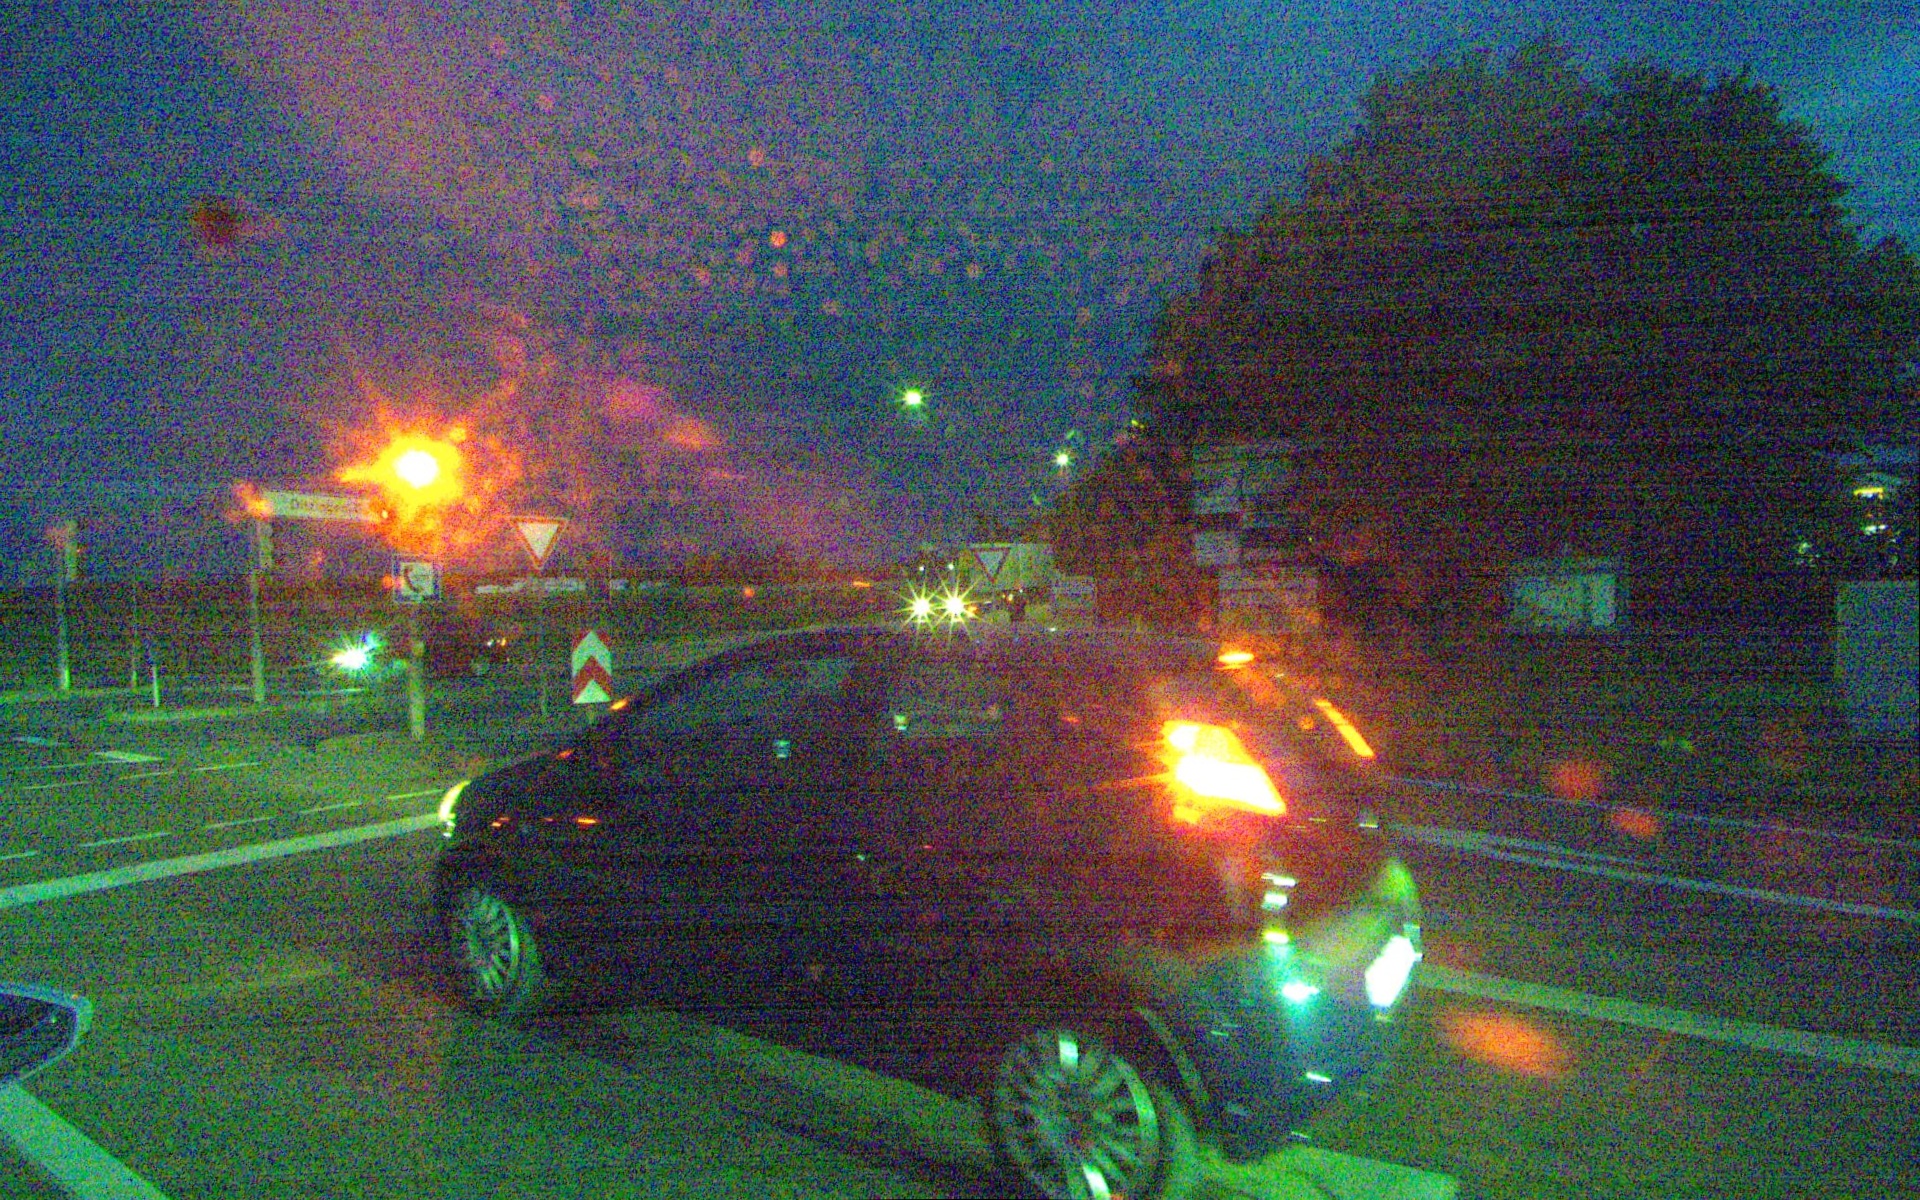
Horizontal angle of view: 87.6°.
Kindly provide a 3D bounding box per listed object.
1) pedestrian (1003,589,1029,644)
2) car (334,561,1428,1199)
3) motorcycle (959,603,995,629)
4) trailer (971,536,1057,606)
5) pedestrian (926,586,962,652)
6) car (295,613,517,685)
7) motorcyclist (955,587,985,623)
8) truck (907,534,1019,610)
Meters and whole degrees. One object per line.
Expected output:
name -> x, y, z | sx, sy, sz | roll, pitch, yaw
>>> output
pedestrian -> 1.997, 0.581, 35.799 | 0.860, 1.925, 0.660 | -1, 1, 6
car -> -0.542, 0.733, 3.843 | 4.049, 1.540, 1.666 | -1, -1, 34
motorcycle -> 0.786, 0.707, 44.558 | 0.964, 1.113, 2.504 | 0, 0, 16
trailer -> 3.814, -2.036, 67.566 | 2.875, 4.361, 9.043 | -1, 2, 22
pedestrian -> -0.454, 0.554, 29.356 | 0.861, 1.859, 0.731 | -3, 1, 6
car -> -14.054, 1.171, 25.675 | 1.972, 1.541, 4.589 | 0, 1, 33
motorcyclist -> 0.465, 0.218, 44.732 | 1.120, 1.606, 0.971 | 0, 1, 15
truck -> 0.403, -1.556, 58.831 | 2.876, 4.033, 10.042 | -1, 1, 23
